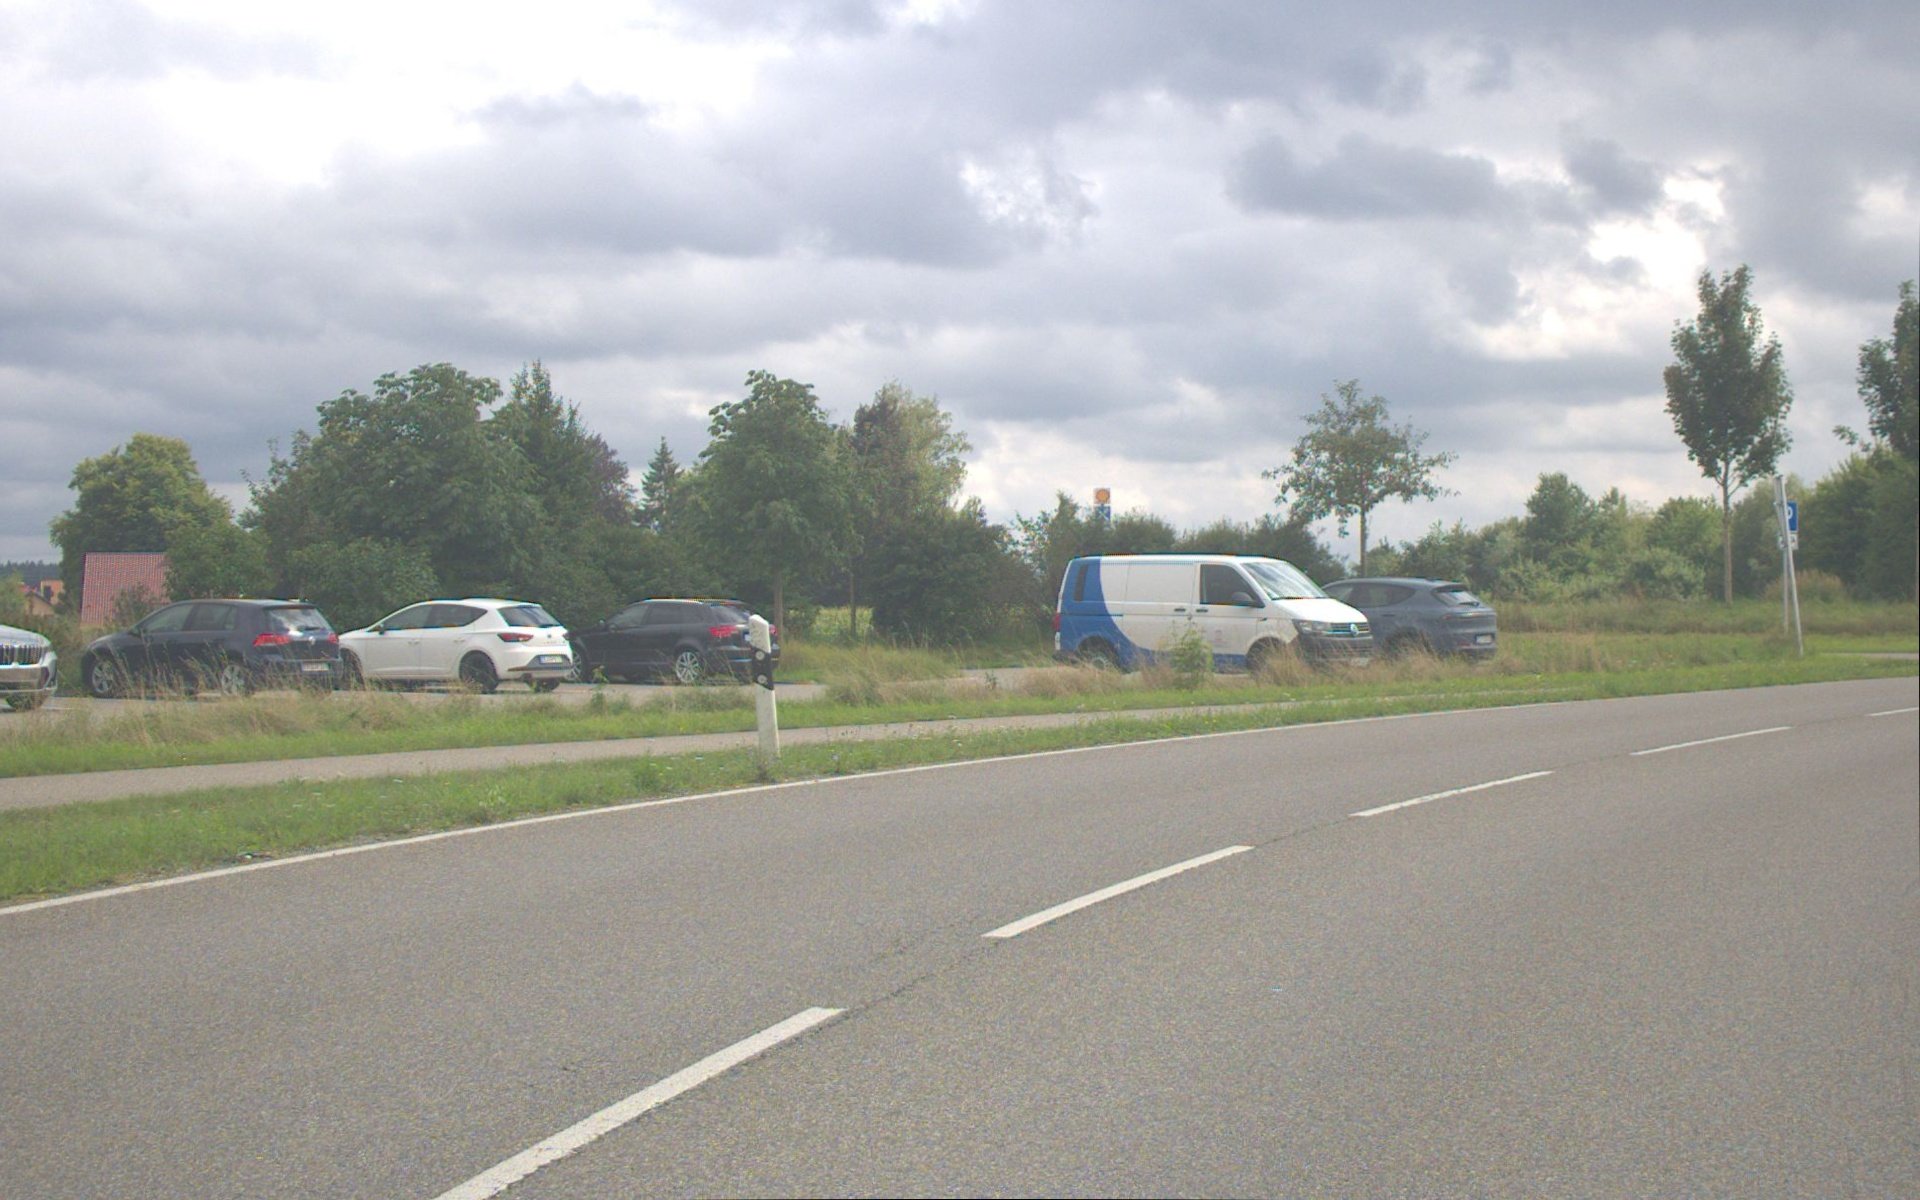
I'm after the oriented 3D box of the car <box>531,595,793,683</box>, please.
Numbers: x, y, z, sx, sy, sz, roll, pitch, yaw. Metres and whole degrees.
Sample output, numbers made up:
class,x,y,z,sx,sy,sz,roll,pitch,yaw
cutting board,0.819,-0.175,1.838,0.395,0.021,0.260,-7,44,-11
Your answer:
class,x,y,z,sx,sy,sz,roll,pitch,yaw
car,-4.958,0.626,57.114,3.993,1.382,1.839,0,1,30

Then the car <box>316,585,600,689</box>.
class,x,y,z,sx,sy,sz,roll,pitch,yaw
car,-7.776,0.543,53.249,3.993,1.547,1.962,0,1,30

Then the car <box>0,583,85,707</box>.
class,x,y,z,sx,sy,sz,roll,pitch,yaw
car,-13.483,0.581,44.791,3.995,1.547,1.961,-1,0,37

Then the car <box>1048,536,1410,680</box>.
class,x,y,z,sx,sy,sz,roll,pitch,yaw
car,3.917,0.133,50.448,4.903,2.007,2.052,-1,0,36

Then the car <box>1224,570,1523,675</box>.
class,x,y,z,sx,sy,sz,roll,pitch,yaw
car,6.541,0.364,54.541,4.256,1.589,1.996,-1,0,37

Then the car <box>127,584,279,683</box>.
class,x,y,z,sx,sy,sz,roll,pitch,yaw
car,-12.294,0.530,55.696,1.771,1.521,3.795,-1,0,-22

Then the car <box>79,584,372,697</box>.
class,x,y,z,sx,sy,sz,roll,pitch,yaw
car,-10.515,0.546,49.147,3.995,1.547,1.961,0,1,37
